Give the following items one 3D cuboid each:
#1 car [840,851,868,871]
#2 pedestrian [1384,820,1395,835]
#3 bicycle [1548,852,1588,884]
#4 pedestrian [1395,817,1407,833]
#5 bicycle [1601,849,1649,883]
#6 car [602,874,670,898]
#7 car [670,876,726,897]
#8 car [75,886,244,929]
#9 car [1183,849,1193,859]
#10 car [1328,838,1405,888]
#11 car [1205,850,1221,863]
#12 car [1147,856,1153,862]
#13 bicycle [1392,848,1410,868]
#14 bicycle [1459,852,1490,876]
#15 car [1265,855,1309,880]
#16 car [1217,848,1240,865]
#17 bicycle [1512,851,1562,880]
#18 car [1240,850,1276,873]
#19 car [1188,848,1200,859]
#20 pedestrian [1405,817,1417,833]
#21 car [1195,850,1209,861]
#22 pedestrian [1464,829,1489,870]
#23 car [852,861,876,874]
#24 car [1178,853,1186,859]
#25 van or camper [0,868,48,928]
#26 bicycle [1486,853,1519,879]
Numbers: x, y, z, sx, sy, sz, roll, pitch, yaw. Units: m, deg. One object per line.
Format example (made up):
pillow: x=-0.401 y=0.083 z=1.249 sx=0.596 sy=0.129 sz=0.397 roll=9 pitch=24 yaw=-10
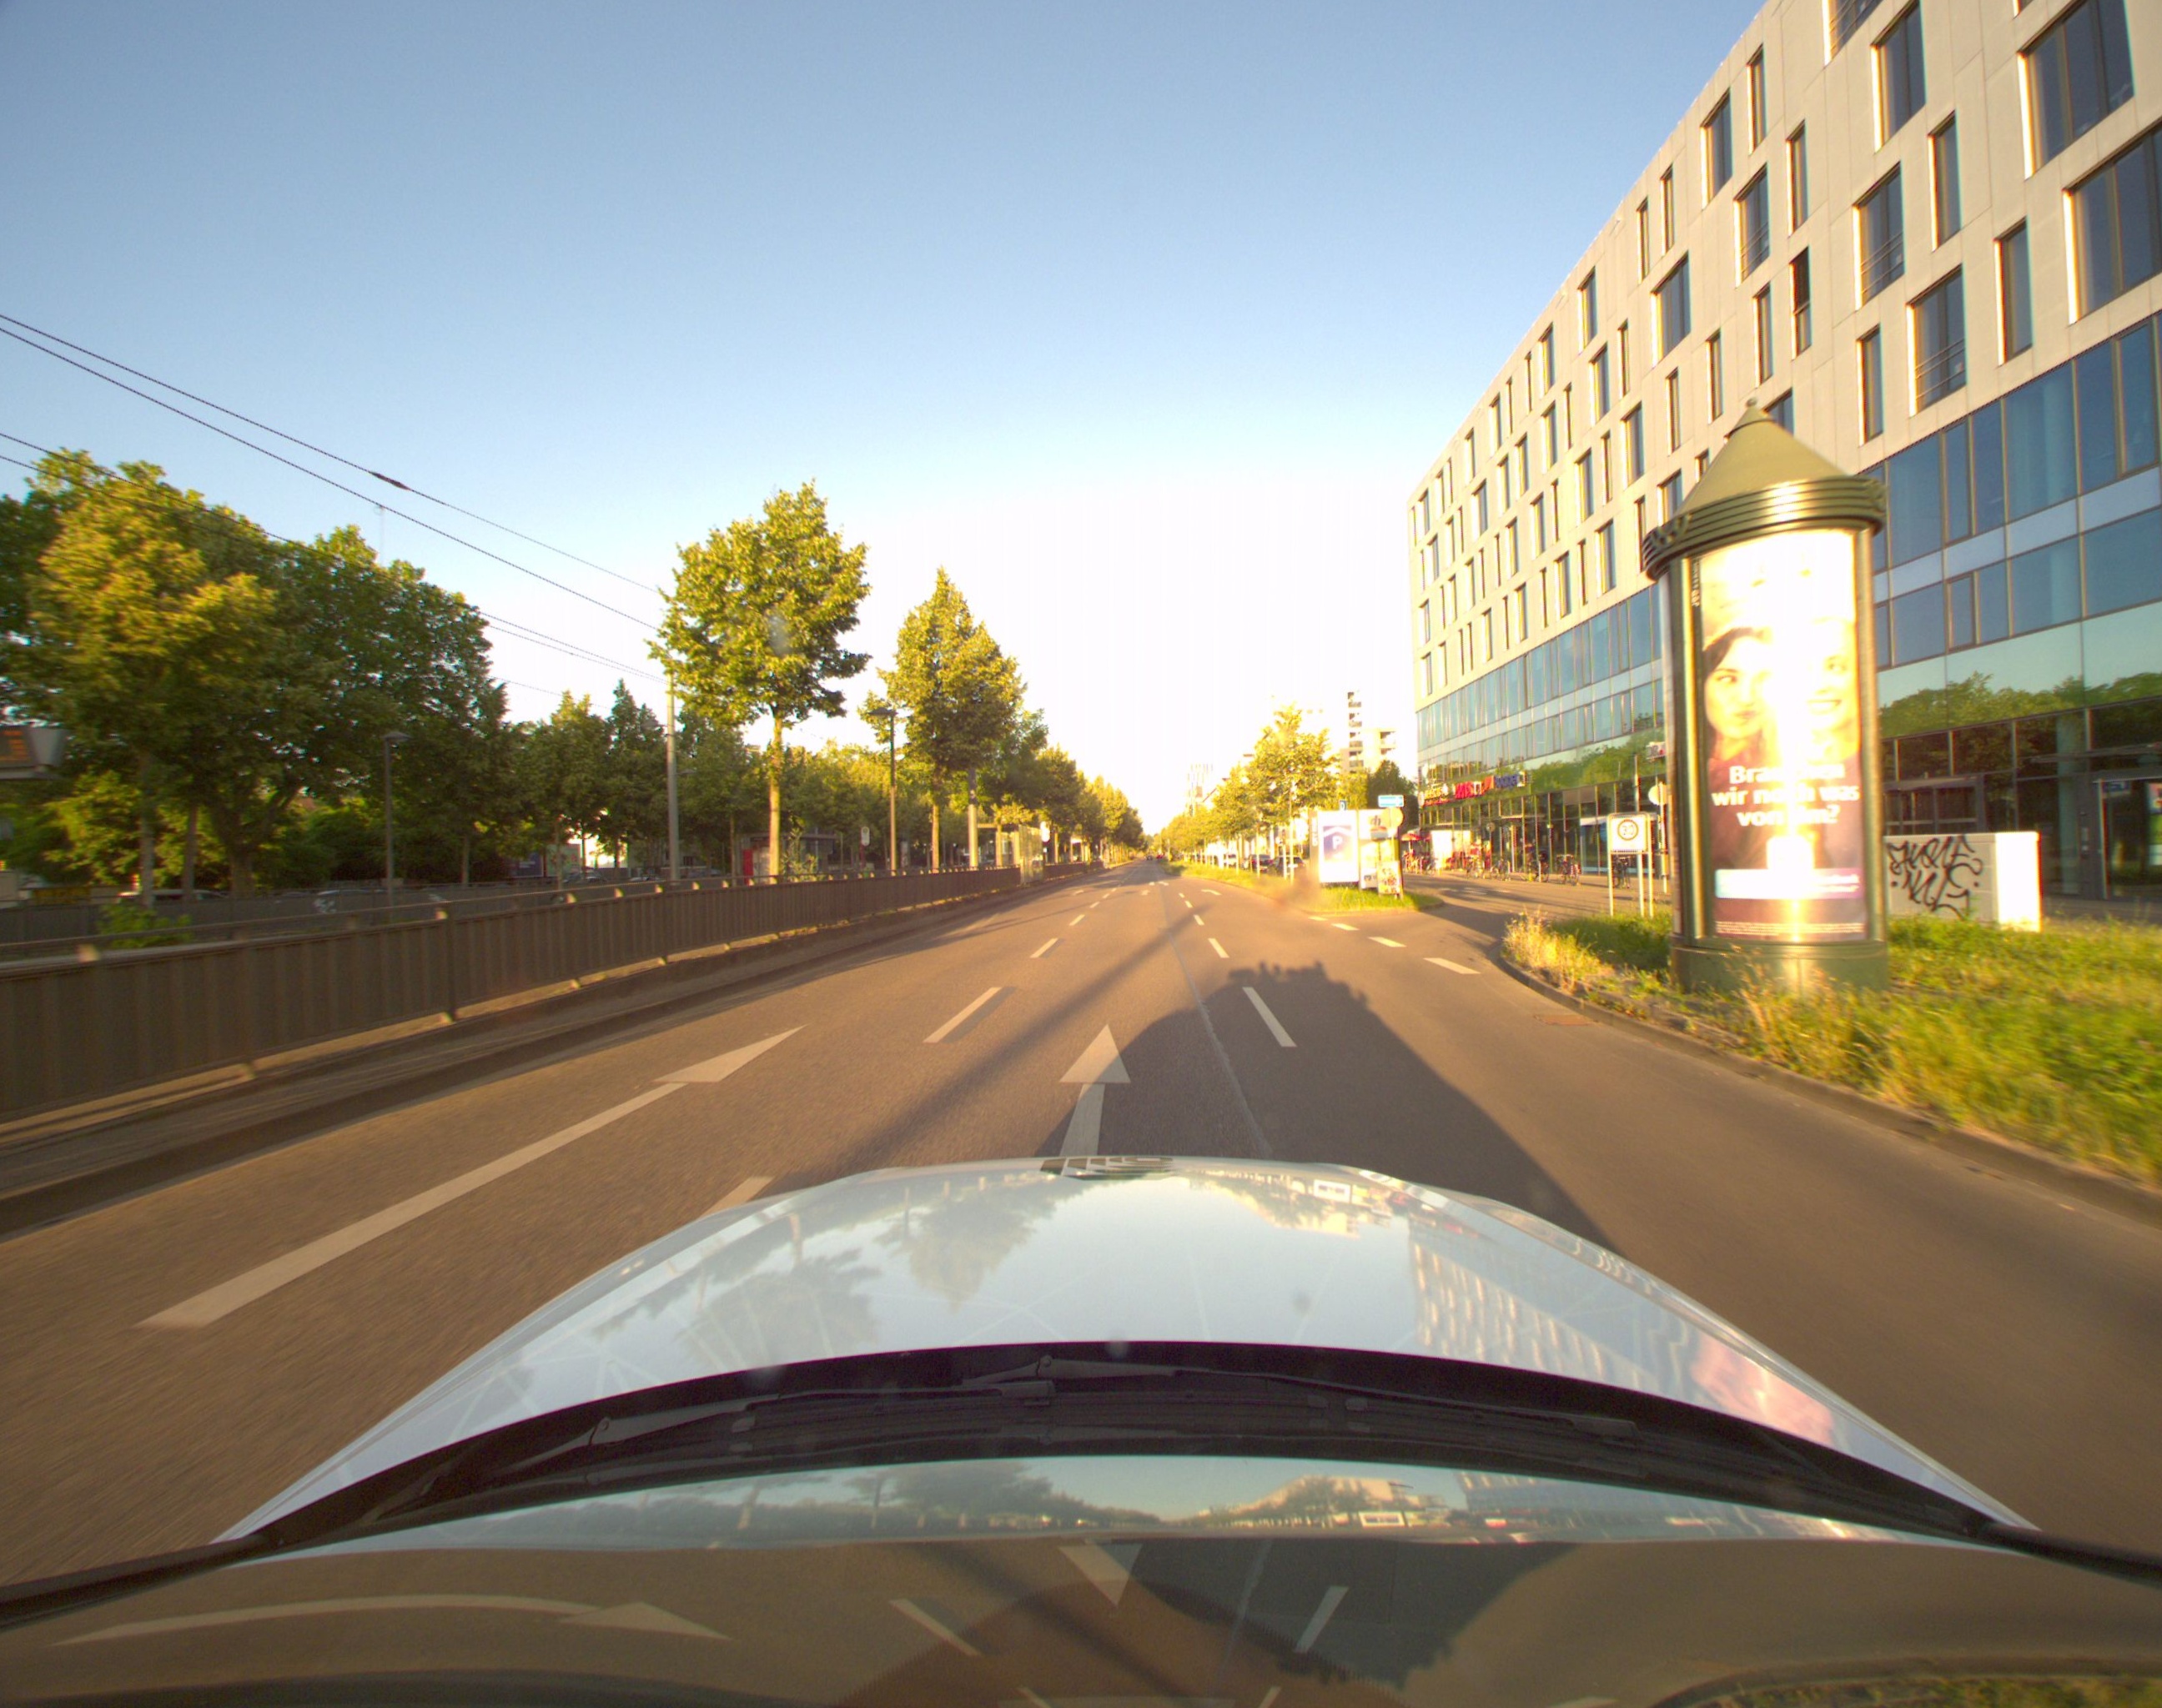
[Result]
car: x=-26.829 y=0.812 z=96.492 sx=1.766 sy=2.184 sz=4.006 roll=-2 pitch=0 yaw=6
pedestrian: x=29.883 y=-2.548 z=78.838 sx=0.804 sy=1.455 sz=1.120 roll=-3 pitch=-1 yaw=30
bicycle: x=17.667 y=0.492 z=29.578 sx=0.630 sy=1.068 sz=2.130 roll=-2 pitch=0 yaw=14
pedestrian: x=30.774 y=-2.749 z=78.345 sx=0.804 sy=1.455 sz=1.120 roll=-3 pitch=-1 yaw=30
bicycle: x=17.580 y=0.369 z=26.366 sx=0.538 sy=1.068 sz=2.011 roll=-2 pitch=0 yaw=11
car: x=-31.695 y=2.273 z=58.123 sx=1.982 sy=1.464 sz=4.254 roll=-2 pitch=0 yaw=9
car: x=-30.981 y=2.640 z=66.048 sx=1.982 sy=1.464 sz=4.254 roll=-2 pitch=0 yaw=9
car: x=-38.363 y=2.180 z=34.089 sx=1.982 sy=1.464 sz=4.254 roll=-2 pitch=0 yaw=9
car: x=23.634 y=-0.036 z=180.205 sx=1.985 sy=2.013 sz=4.004 roll=-2 pitch=0 yaw=4
car: x=11.072 y=0.315 z=31.903 sx=1.842 sy=1.828 sz=4.401 roll=0 pitch=0 yaw=6
car: x=17.608 y=0.357 z=109.178 sx=2.018 sy=1.697 sz=4.407 roll=0 pitch=0 yaw=8
car: x=20.493 y=1.442 z=243.027 sx=1.688 sy=1.596 sz=4.004 roll=-3 pitch=-1 yaw=4
bicycle: x=19.782 y=0.241 z=50.407 sx=0.489 sy=1.155 sz=1.637 roll=-2 pitch=0 yaw=3
bicycle: x=18.399 y=0.465 z=38.140 sx=0.631 sy=1.068 sz=2.127 roll=-2 pitch=0 yaw=8
car: x=12.425 y=0.777 z=49.287 sx=1.817 sy=1.435 sz=4.464 roll=0 pitch=0 yaw=4
car: x=15.601 y=0.251 z=86.275 sx=1.985 sy=1.697 sz=4.420 roll=0 pitch=0 yaw=4
bicycle: x=18.115 y=0.449 z=32.405 sx=0.633 sy=1.068 sz=2.118 roll=-2 pitch=0 yaw=-5
car: x=13.765 y=0.574 z=63.439 sx=1.985 sy=1.697 sz=4.597 roll=0 pitch=0 yaw=2
car: x=21.422 y=-0.139 z=154.839 sx=1.985 sy=2.013 sz=4.004 roll=-2 pitch=0 yaw=4
pedestrian: x=31.470 y=-2.789 z=77.629 sx=0.804 sy=1.455 sz=1.120 roll=-3 pitch=-1 yaw=30
car: x=19.663 y=0.255 z=132.846 sx=1.886 sy=1.771 sz=3.951 roll=-2 pitch=0 yaw=4
pedestrian: x=20.983 y=-0.218 z=43.221 sx=0.808 sy=2.089 sz=1.115 roll=-3 pitch=-1 yaw=7
car: x=-31.286 y=1.945 z=117.532 sx=1.896 sy=1.816 sz=4.228 roll=-3 pitch=-1 yaw=7
car: x=27.458 y=0.520 z=221.731 sx=1.688 sy=1.596 sz=4.004 roll=-3 pitch=-1 yaw=4
van or camper: x=-45.450 y=1.850 z=31.380 sx=2.242 sy=2.410 sz=6.605 roll=-3 pitch=-1 yaw=11
bicycle: x=18.355 y=0.523 z=35.538 sx=0.630 sy=1.068 sz=2.128 roll=-2 pitch=0 yaw=9
